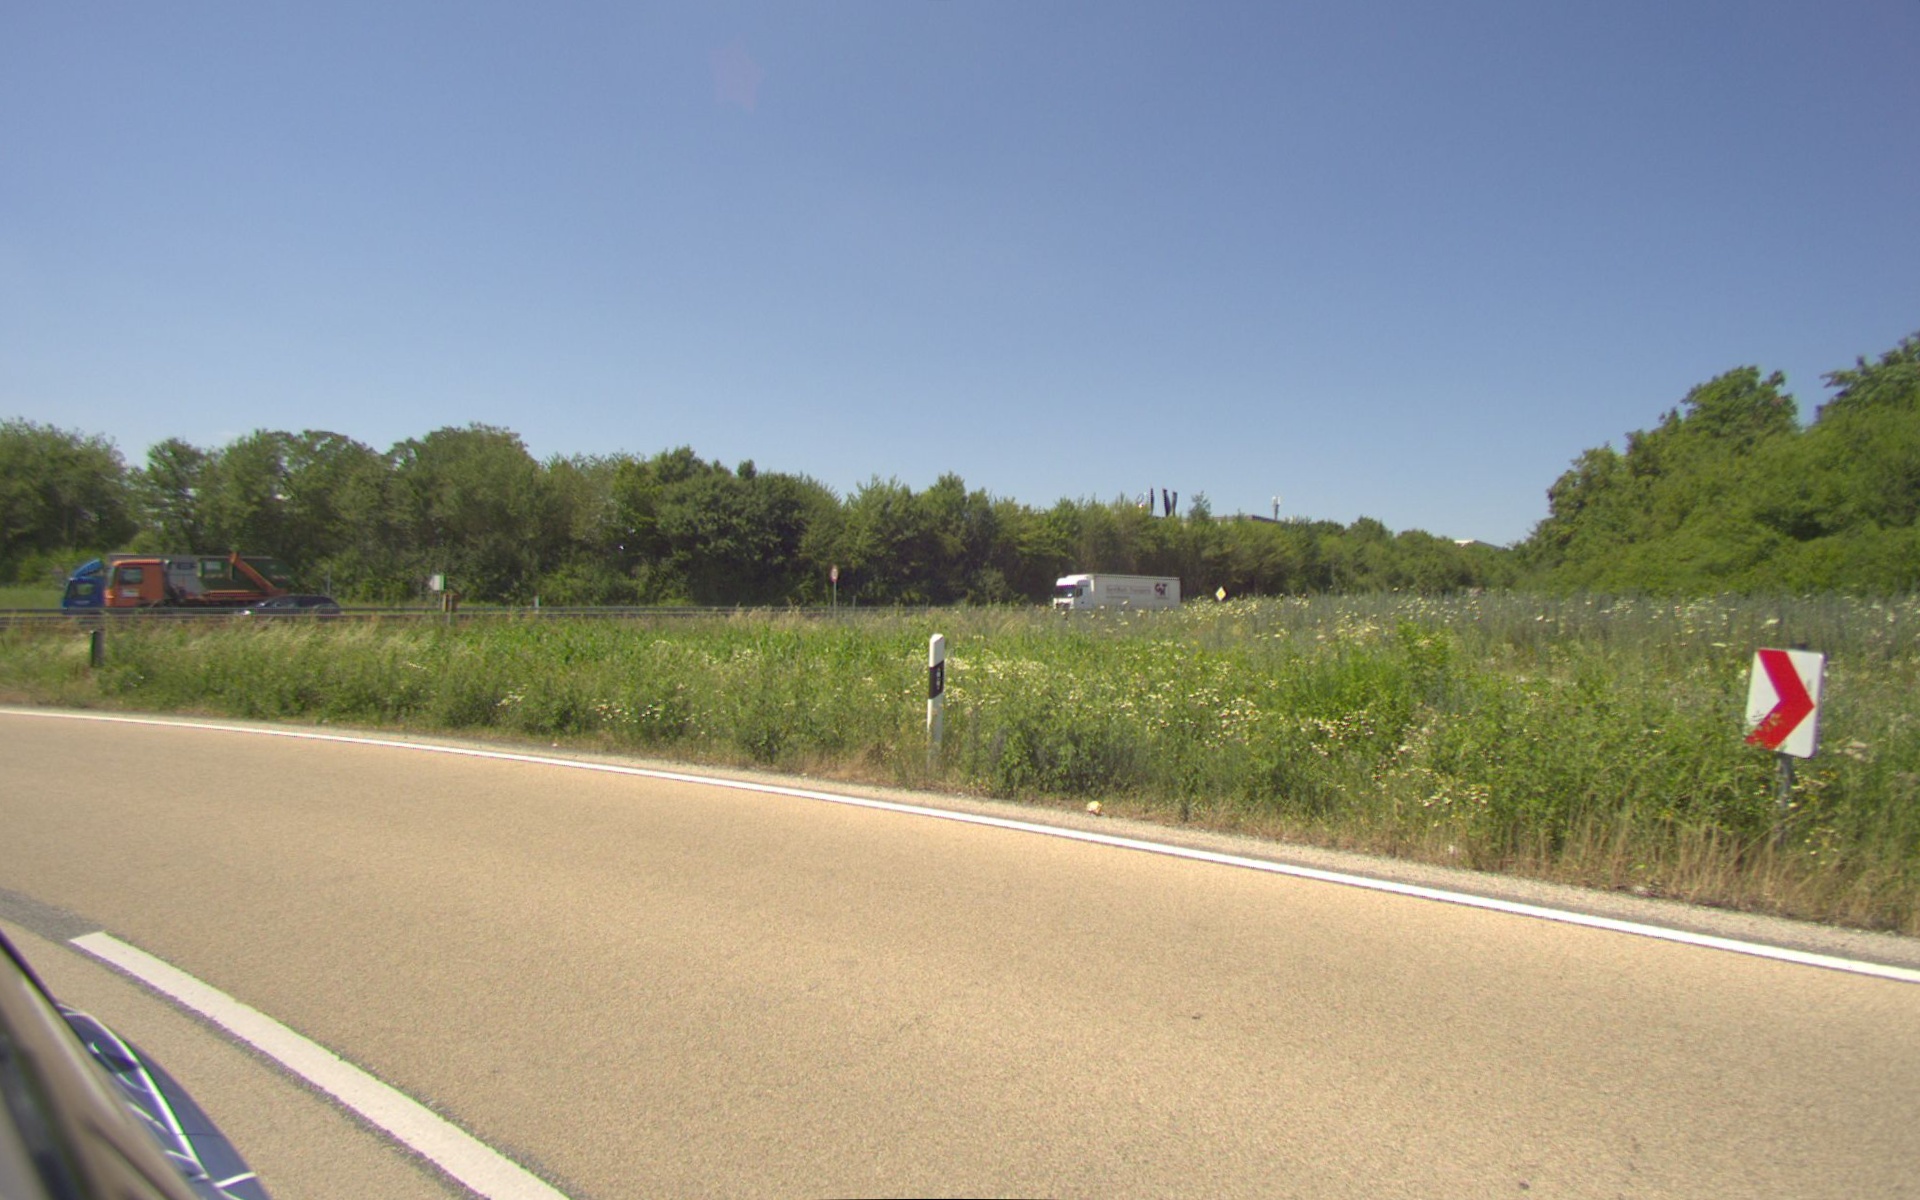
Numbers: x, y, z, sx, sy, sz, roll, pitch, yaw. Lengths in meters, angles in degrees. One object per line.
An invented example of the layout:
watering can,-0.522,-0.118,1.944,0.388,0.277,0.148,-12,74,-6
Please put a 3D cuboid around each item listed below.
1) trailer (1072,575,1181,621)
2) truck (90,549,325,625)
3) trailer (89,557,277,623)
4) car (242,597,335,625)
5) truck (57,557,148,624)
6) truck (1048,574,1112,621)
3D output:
trailer,15.688,-0.147,94.178,13.079,3.969,2.923,0,-1,-45
truck,-33.050,-0.487,44.737,8.080,3.085,2.606,1,-1,-43
trailer,-37.499,-0.481,49.190,7.102,3.032,2.311,-1,0,-35
car,-28.600,0.461,43.152,3.194,1.157,1.234,0,-1,-39
truck,-40.057,-0.434,47.368,3.025,3.032,2.322,-1,0,-35
truck,10.624,-0.179,89.162,5.338,3.969,2.923,0,-1,-45
